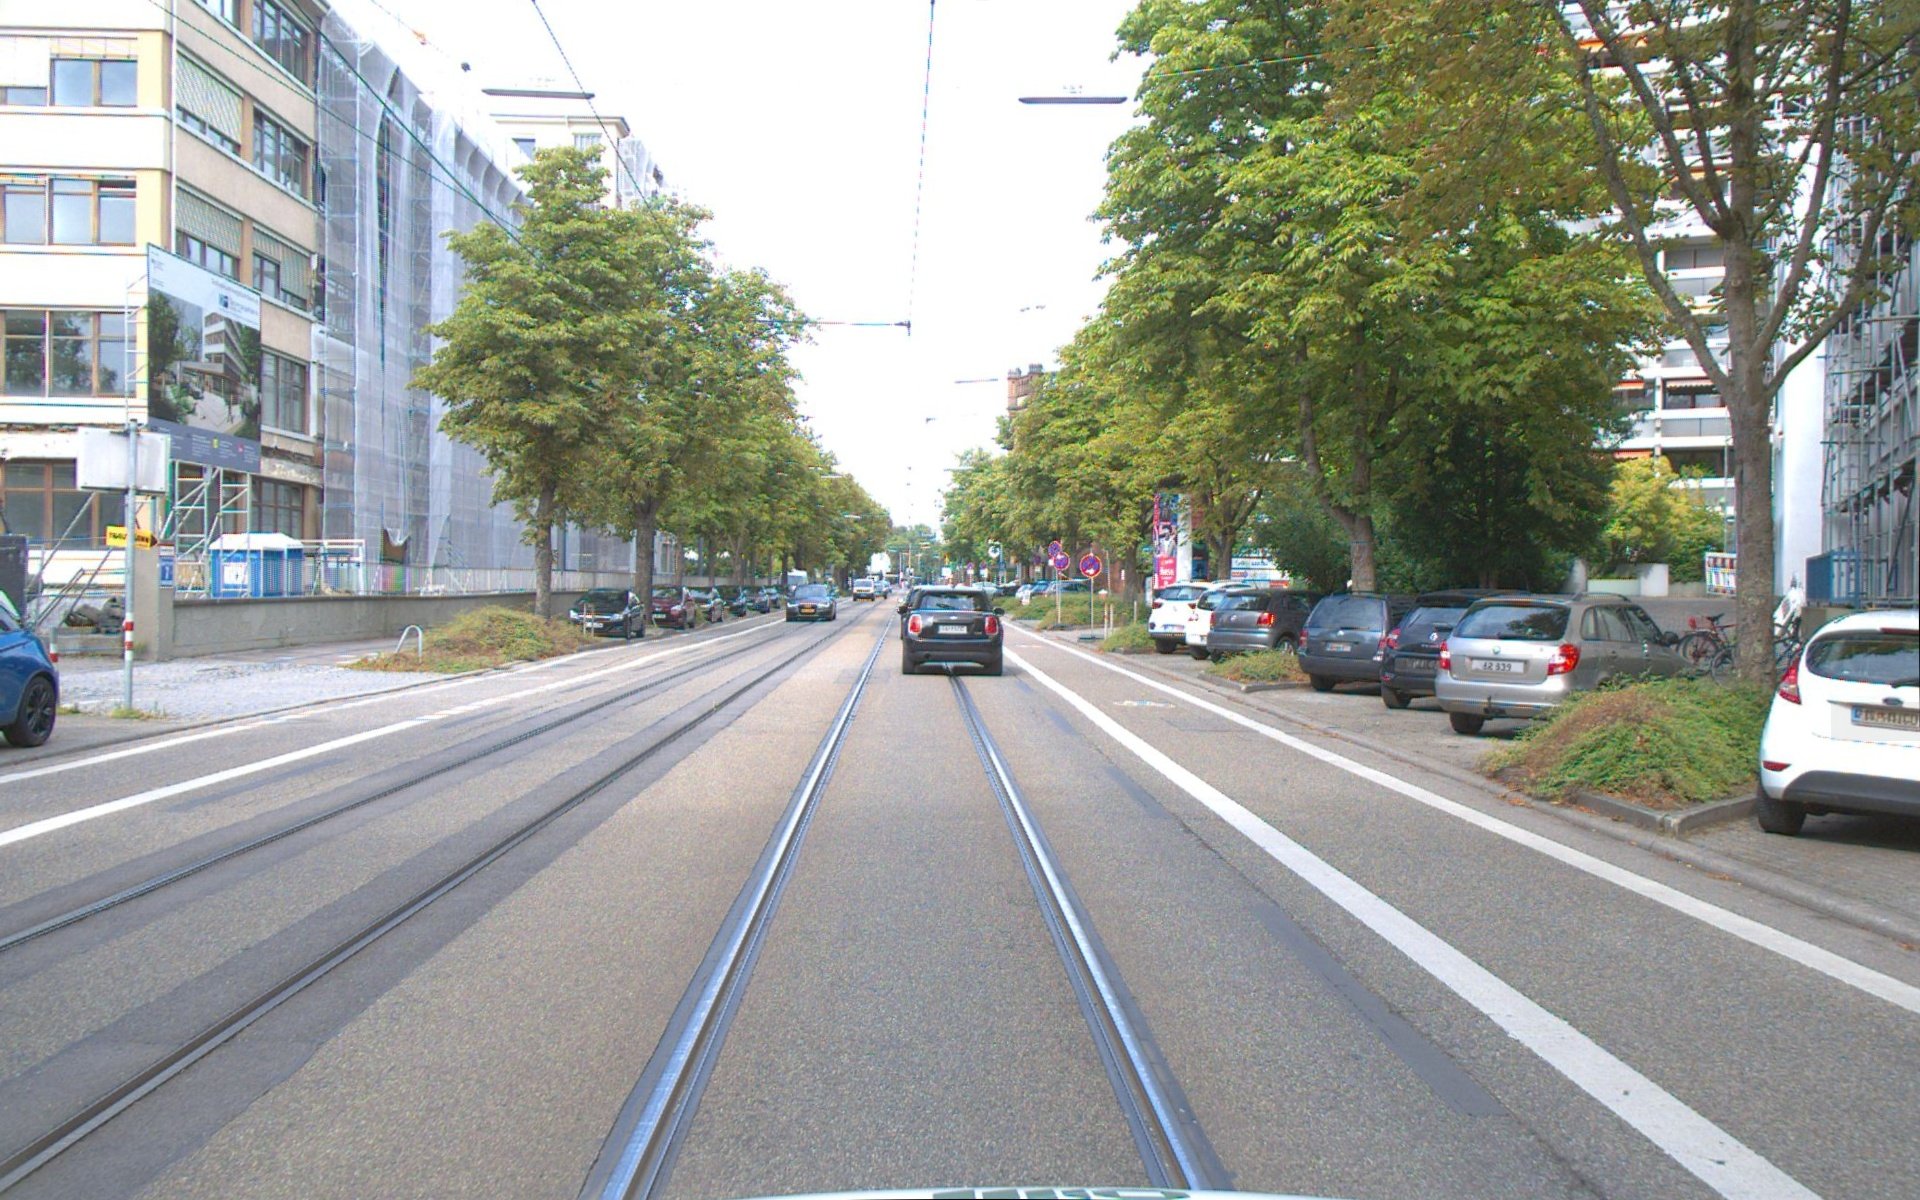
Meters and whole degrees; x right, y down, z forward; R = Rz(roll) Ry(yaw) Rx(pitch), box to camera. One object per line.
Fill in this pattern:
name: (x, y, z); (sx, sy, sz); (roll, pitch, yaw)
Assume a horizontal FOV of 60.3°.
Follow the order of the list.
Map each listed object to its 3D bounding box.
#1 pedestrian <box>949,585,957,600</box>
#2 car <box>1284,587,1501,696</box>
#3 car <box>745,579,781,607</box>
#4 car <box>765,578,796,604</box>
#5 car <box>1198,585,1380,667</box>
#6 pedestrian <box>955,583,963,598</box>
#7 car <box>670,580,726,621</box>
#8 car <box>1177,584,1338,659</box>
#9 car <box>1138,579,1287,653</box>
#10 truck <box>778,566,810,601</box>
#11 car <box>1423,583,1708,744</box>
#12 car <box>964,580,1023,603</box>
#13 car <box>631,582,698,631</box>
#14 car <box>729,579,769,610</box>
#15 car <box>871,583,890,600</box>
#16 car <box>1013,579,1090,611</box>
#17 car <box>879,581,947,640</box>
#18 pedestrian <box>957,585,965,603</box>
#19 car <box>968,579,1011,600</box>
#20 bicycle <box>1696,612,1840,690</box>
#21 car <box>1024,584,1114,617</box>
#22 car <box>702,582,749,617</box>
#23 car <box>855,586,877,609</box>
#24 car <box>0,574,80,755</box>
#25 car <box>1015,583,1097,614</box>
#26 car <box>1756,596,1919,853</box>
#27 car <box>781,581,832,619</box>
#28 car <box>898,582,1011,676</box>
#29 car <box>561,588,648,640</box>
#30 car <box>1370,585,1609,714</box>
pedestrian: (-0.748, -0.805, 182.027); (0.711, 1.674, 0.767); (2, 0, 8)
car: (6.561, 0.591, 24.904); (1.612, 1.484, 3.716); (1, 0, 43)
car: (-11.409, -0.422, 96.060); (1.766, 1.611, 4.029); (0, 0, -3)
car: (-11.677, -0.578, 107.666); (1.766, 1.611, 4.029); (0, 0, -3)
car: (6.308, 0.470, 31.552); (3.504, 1.468, 1.600); (0, 1, -41)
pedestrian: (-0.130, -1.085, 187.972); (0.711, 1.674, 0.767); (2, 0, 8)
car: (-10.470, 0.003, 66.362); (1.766, 1.611, 4.029); (0, 0, -3)
car: (6.256, 0.426, 34.653); (3.416, 1.468, 1.537); (0, 1, -41)
car: (5.775, 0.341, 37.704); (3.416, 1.600, 1.537); (0, 1, -41)
truck: (-12.073, -1.187, 120.752); (2.029, 2.513, 4.897); (0, 0, -3)
car: (6.655, 0.625, 17.986); (1.612, 1.549, 3.716); (1, 0, 43)
car: (2.318, -0.605, 114.229); (3.909, 1.534, 1.883); (1, 0, -5)
car: (-10.237, 0.202, 57.497); (1.766, 1.611, 4.029); (0, 0, -3)
car: (-11.094, -0.303, 87.183); (1.766, 1.611, 4.029); (0, 0, -3)
car: (-7.609, -0.835, 158.892); (1.766, 1.650, 4.482); (0, 0, -3)
car: (4.875, -0.257, 88.687); (3.909, 1.656, 1.883); (1, 0, -5)
car: (-1.302, 0.268, 46.130); (1.757, 1.495, 3.999); (2, 0, -1)
pedestrian: (0.115, -0.597, 162.922); (0.711, 1.674, 0.766); (1, 0, 0)
car: (2.842, -1.034, 160.450); (3.909, 1.944, 1.998); (1, 1, -5)
bicycle: (12.306, 0.767, 25.213); (1.929, 1.148, 0.538); (-1, -1, 28)
car: (5.031, 0.014, 76.383); (3.909, 1.449, 1.883); (1, 0, -5)
car: (-10.894, -0.043, 77.020); (1.766, 1.611, 4.029); (0, 0, -3)
car: (-7.887, -0.231, 139.336); (1.766, 1.855, 4.482); (0, 0, -3)
car: (-8.882, 0.534, 13.379); (1.659, 1.513, 3.675); (2, 1, -3)
car: (4.818, -0.083, 83.279); (3.909, 1.449, 1.883); (1, 0, -5)
car: (6.780, 0.751, 11.161); (1.611, 1.485, 3.807); (1, 0, 41)
car: (-6.159, -0.022, 66.604); (1.798, 1.473, 4.551); (1, 1, -3)
car: (-0.163, 0.446, 28.417); (1.757, 1.448, 3.998); (1, 1, -2)
car: (-10.075, 0.373, 47.107); (1.766, 1.398, 4.029); (0, 0, -3)
car: (7.094, 0.611, 21.960); (1.612, 1.549, 3.716); (1, 0, 43)
